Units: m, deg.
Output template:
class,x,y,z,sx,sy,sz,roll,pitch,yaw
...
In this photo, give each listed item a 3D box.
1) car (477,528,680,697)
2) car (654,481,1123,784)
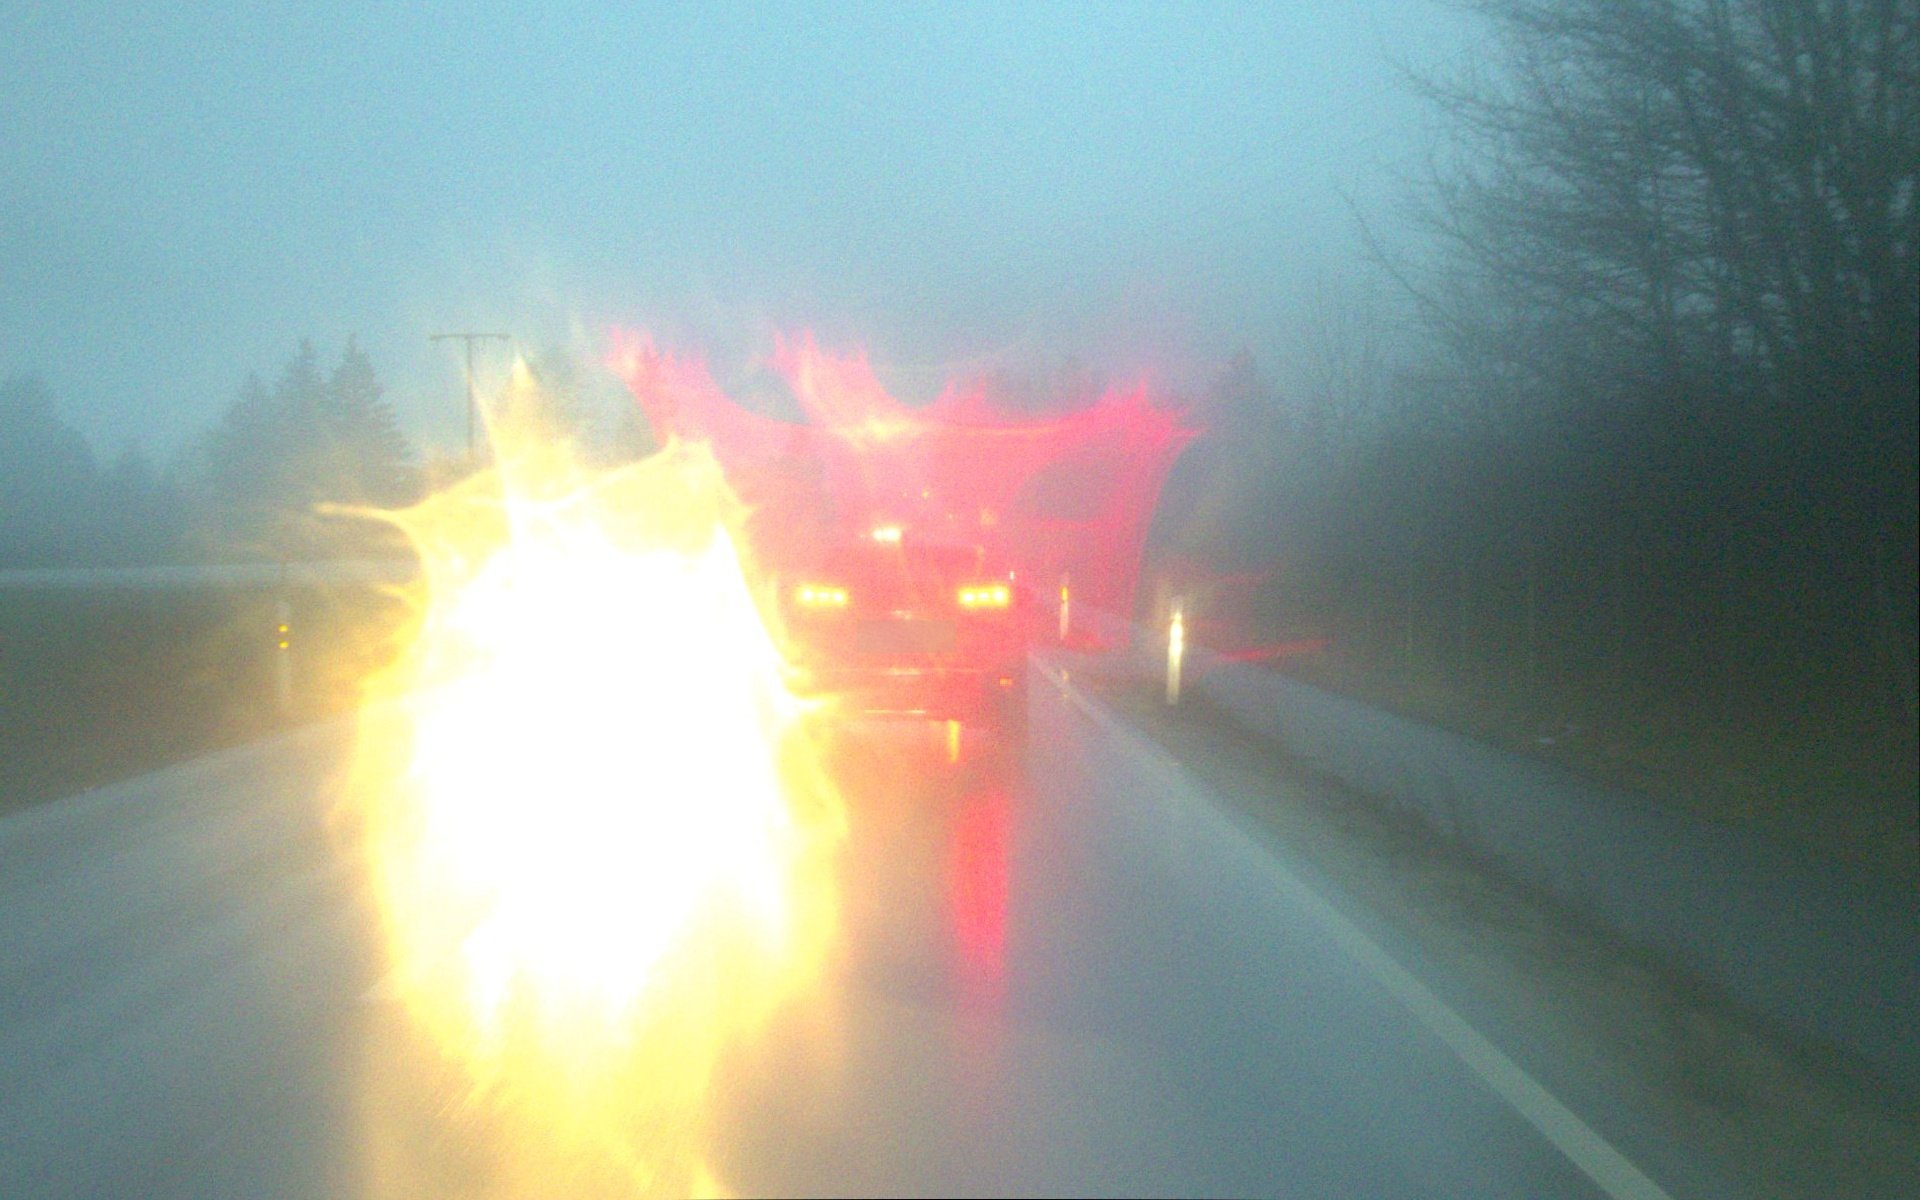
class,x,y,z,sx,sy,sz,roll,pitch,yaw
car,-4.099,0.102,37.444,1.839,1.715,3.956,1,1,-1
car,-0.503,0.142,26.826,3.164,2.028,6.852,-1,1,0
